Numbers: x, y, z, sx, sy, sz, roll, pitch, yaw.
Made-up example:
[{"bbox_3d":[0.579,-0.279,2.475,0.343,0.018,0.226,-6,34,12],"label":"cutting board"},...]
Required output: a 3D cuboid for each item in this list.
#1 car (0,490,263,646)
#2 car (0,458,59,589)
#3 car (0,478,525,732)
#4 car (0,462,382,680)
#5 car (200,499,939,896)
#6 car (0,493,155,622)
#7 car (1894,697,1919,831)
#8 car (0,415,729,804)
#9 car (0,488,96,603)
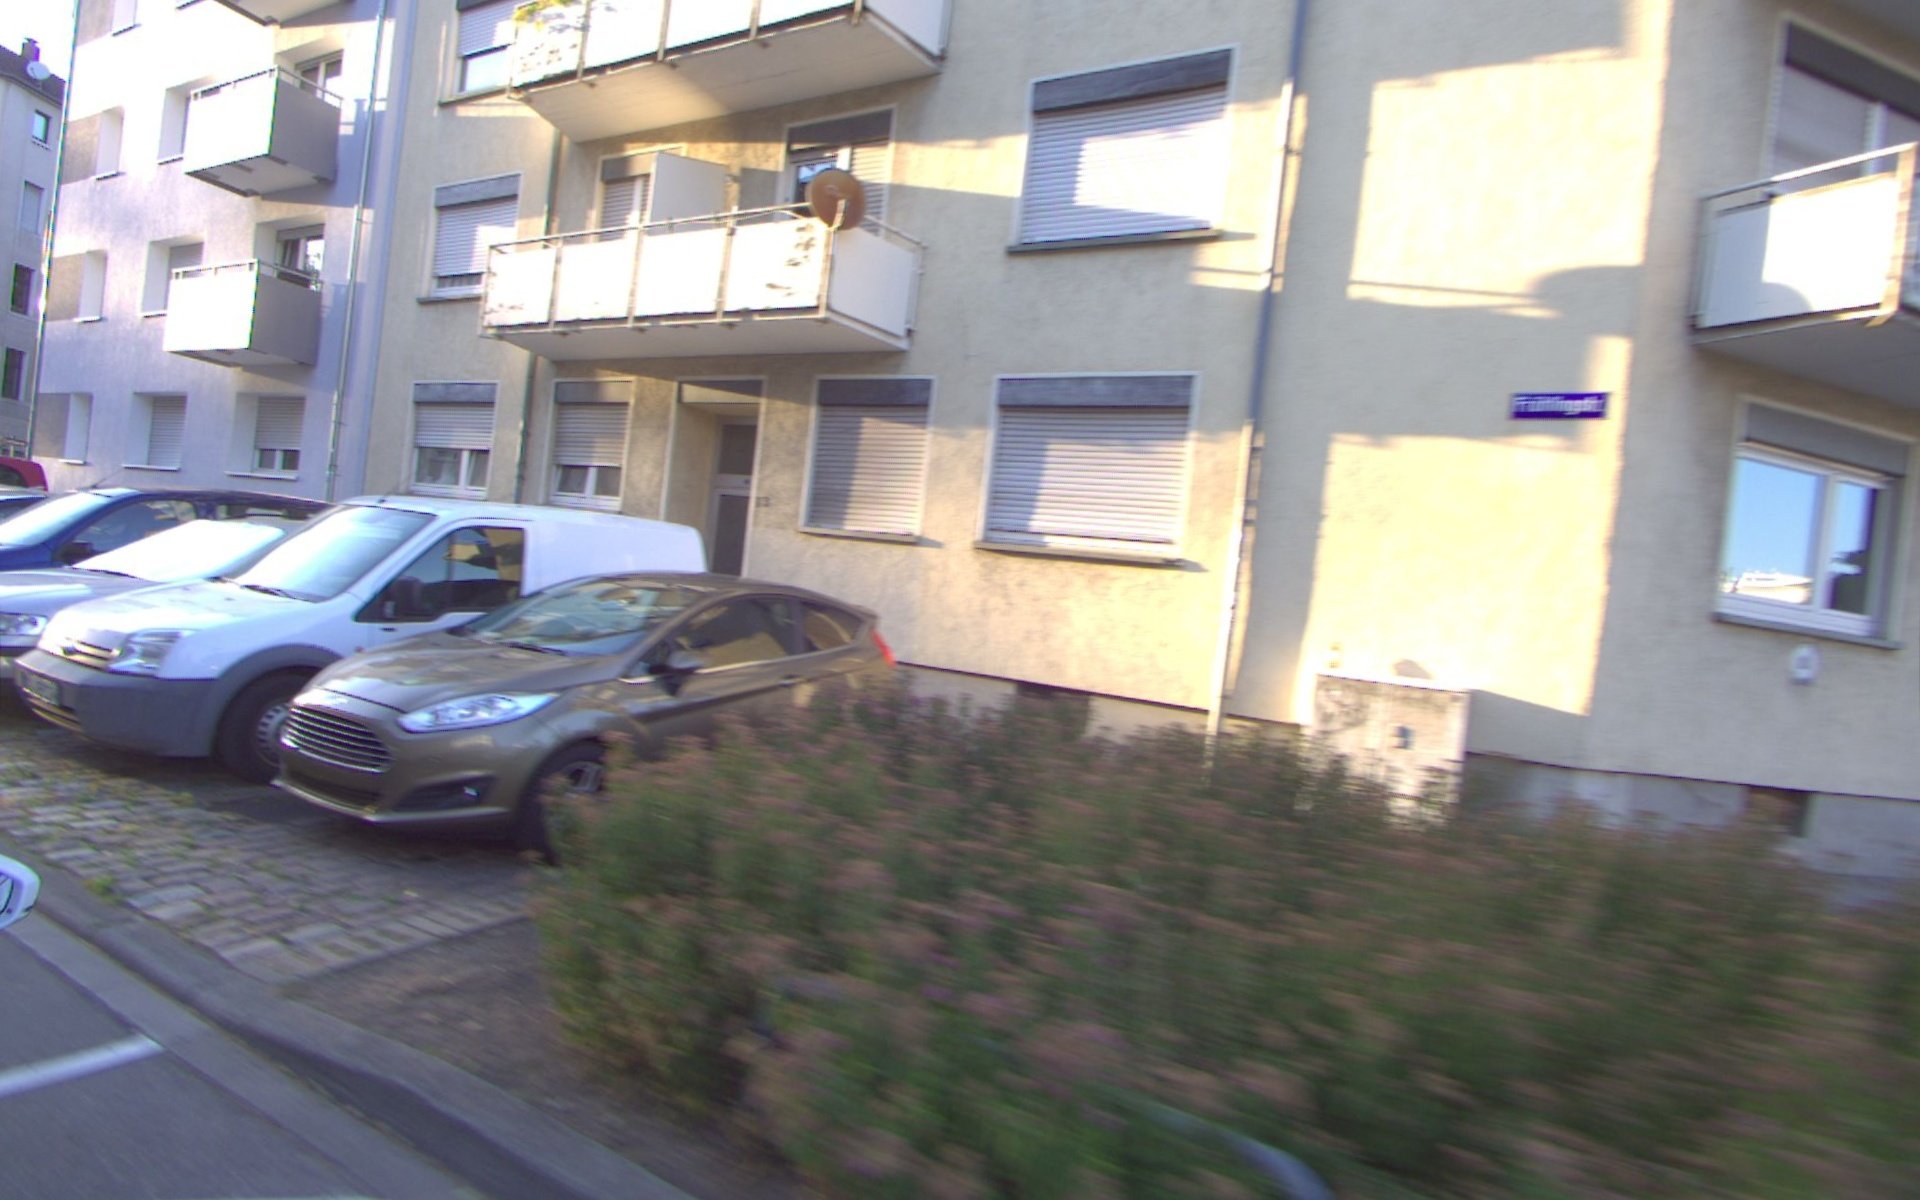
[{"bbox_3d":[-9.827,-0.380,10.092,1.627,1.468,4.312,7,1,30],"label":"car"},{"bbox_3d":[-16.137,-1.339,14.134,2.024,1.934,4.727,7,1,29],"label":"car"},{"bbox_3d":[-5.759,0.048,7.908,1.677,1.541,3.961,7,0,30],"label":"car"},{"bbox_3d":[-7.718,-0.252,9.237,1.627,1.717,3.794,7,1,30],"label":"car"},{"bbox_3d":[-1.938,0.495,6.152,1.712,1.510,3.879,7,0,30],"label":"car"},{"bbox_3d":[-11.960,-0.599,11.543,1.608,1.434,3.880,7,1,28],"label":"car"},{"bbox_3d":[18.575,3.157,16.922,2.192,2.561,6.032,10,1,26],"label":"car"},{"bbox_3d":[-3.870,0.127,7.155,1.712,1.883,4.287,7,-1,30],"label":"car"},{"bbox_3d":[-14.060,-0.864,12.912,1.608,1.490,4.149,7,1,29],"label":"car"}]
